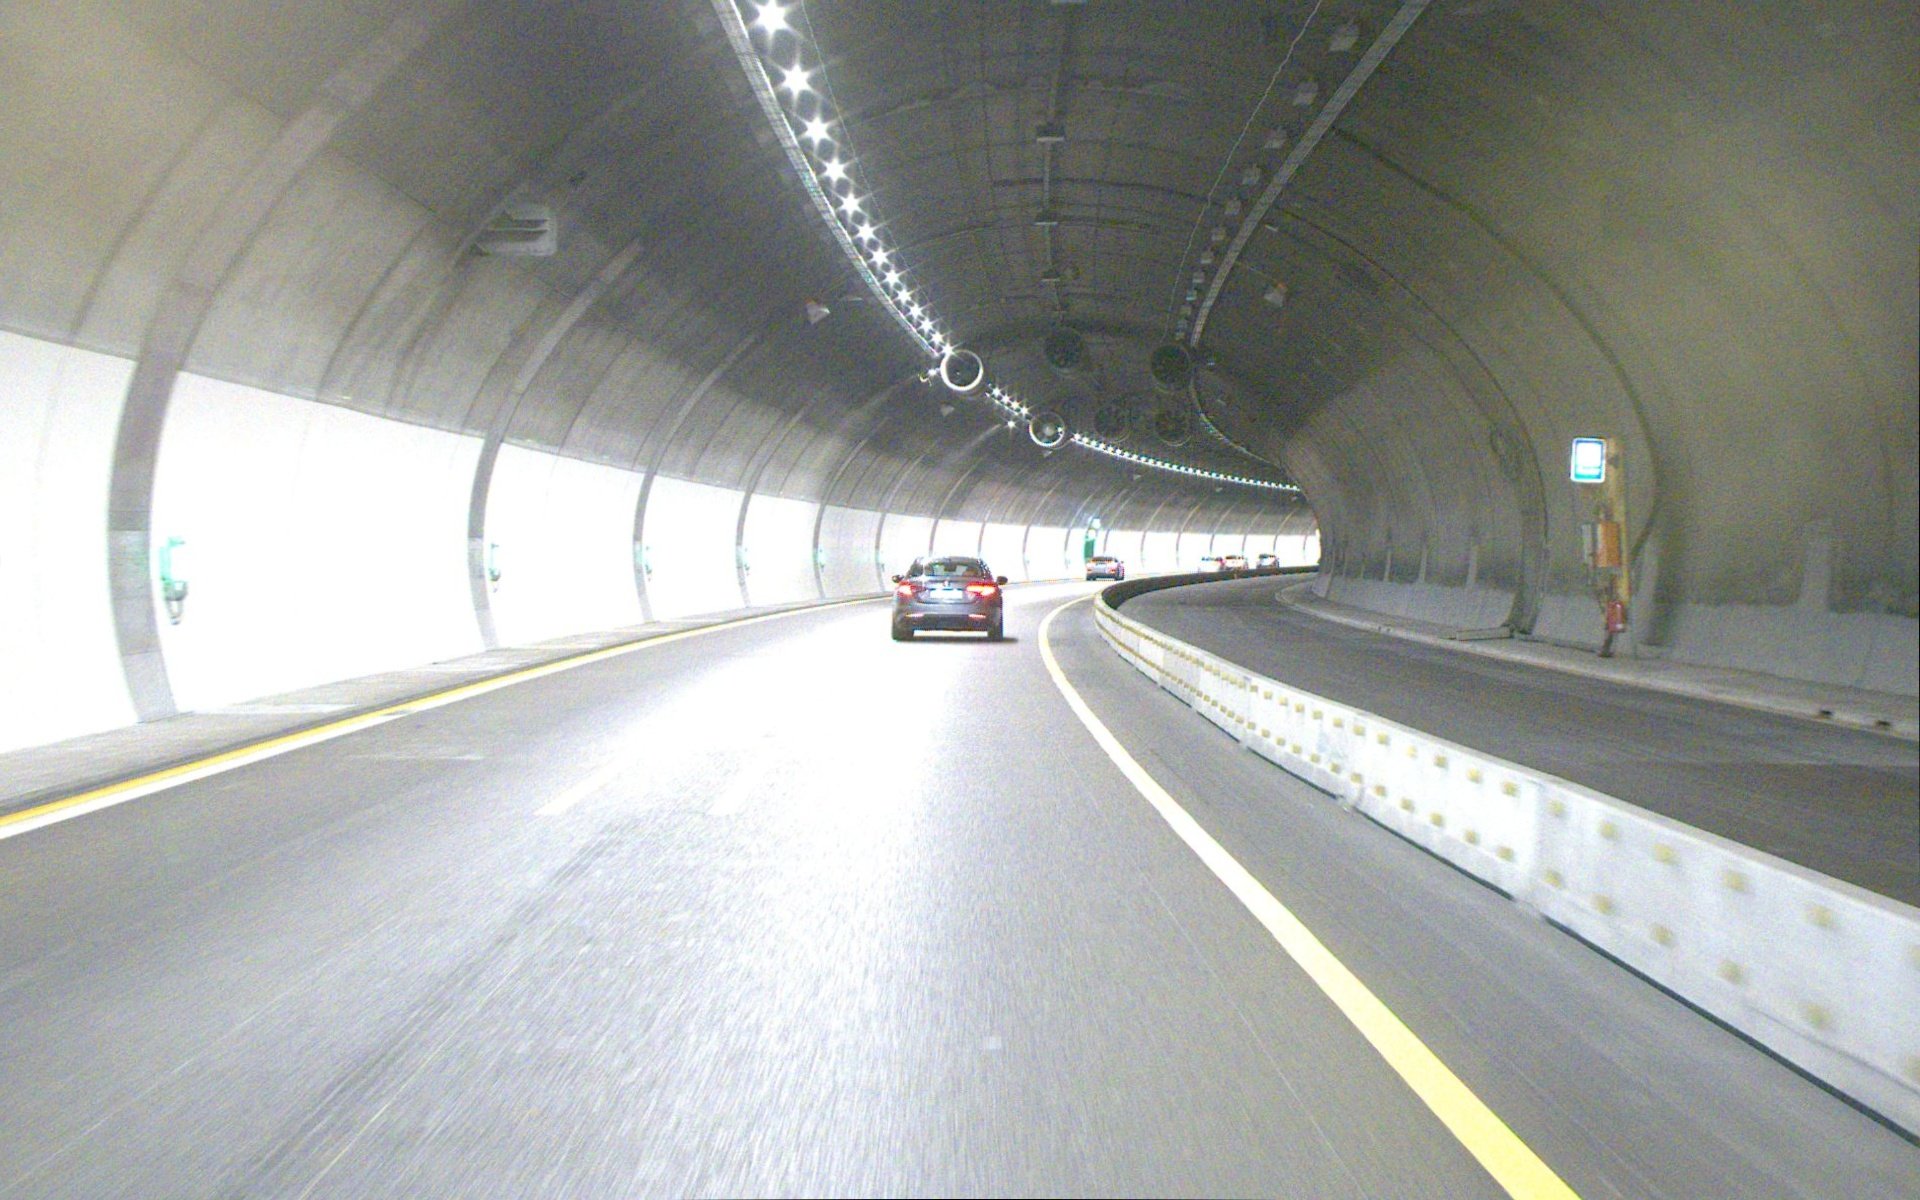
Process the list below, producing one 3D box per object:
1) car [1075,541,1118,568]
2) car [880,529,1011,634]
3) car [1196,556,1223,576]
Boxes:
[{"bbox_3d":[7.807,-2.612,196.792,2.165,1.481,3.999,1,1,7],"label":"car"},{"bbox_3d":[-0.224,-0.343,58.744,2.141,1.700,4.000,0,1,1],"label":"car"},{"bbox_3d":[17.027,-2.356,234.781,1.595,1.328,3.749,1,1,8],"label":"car"}]
